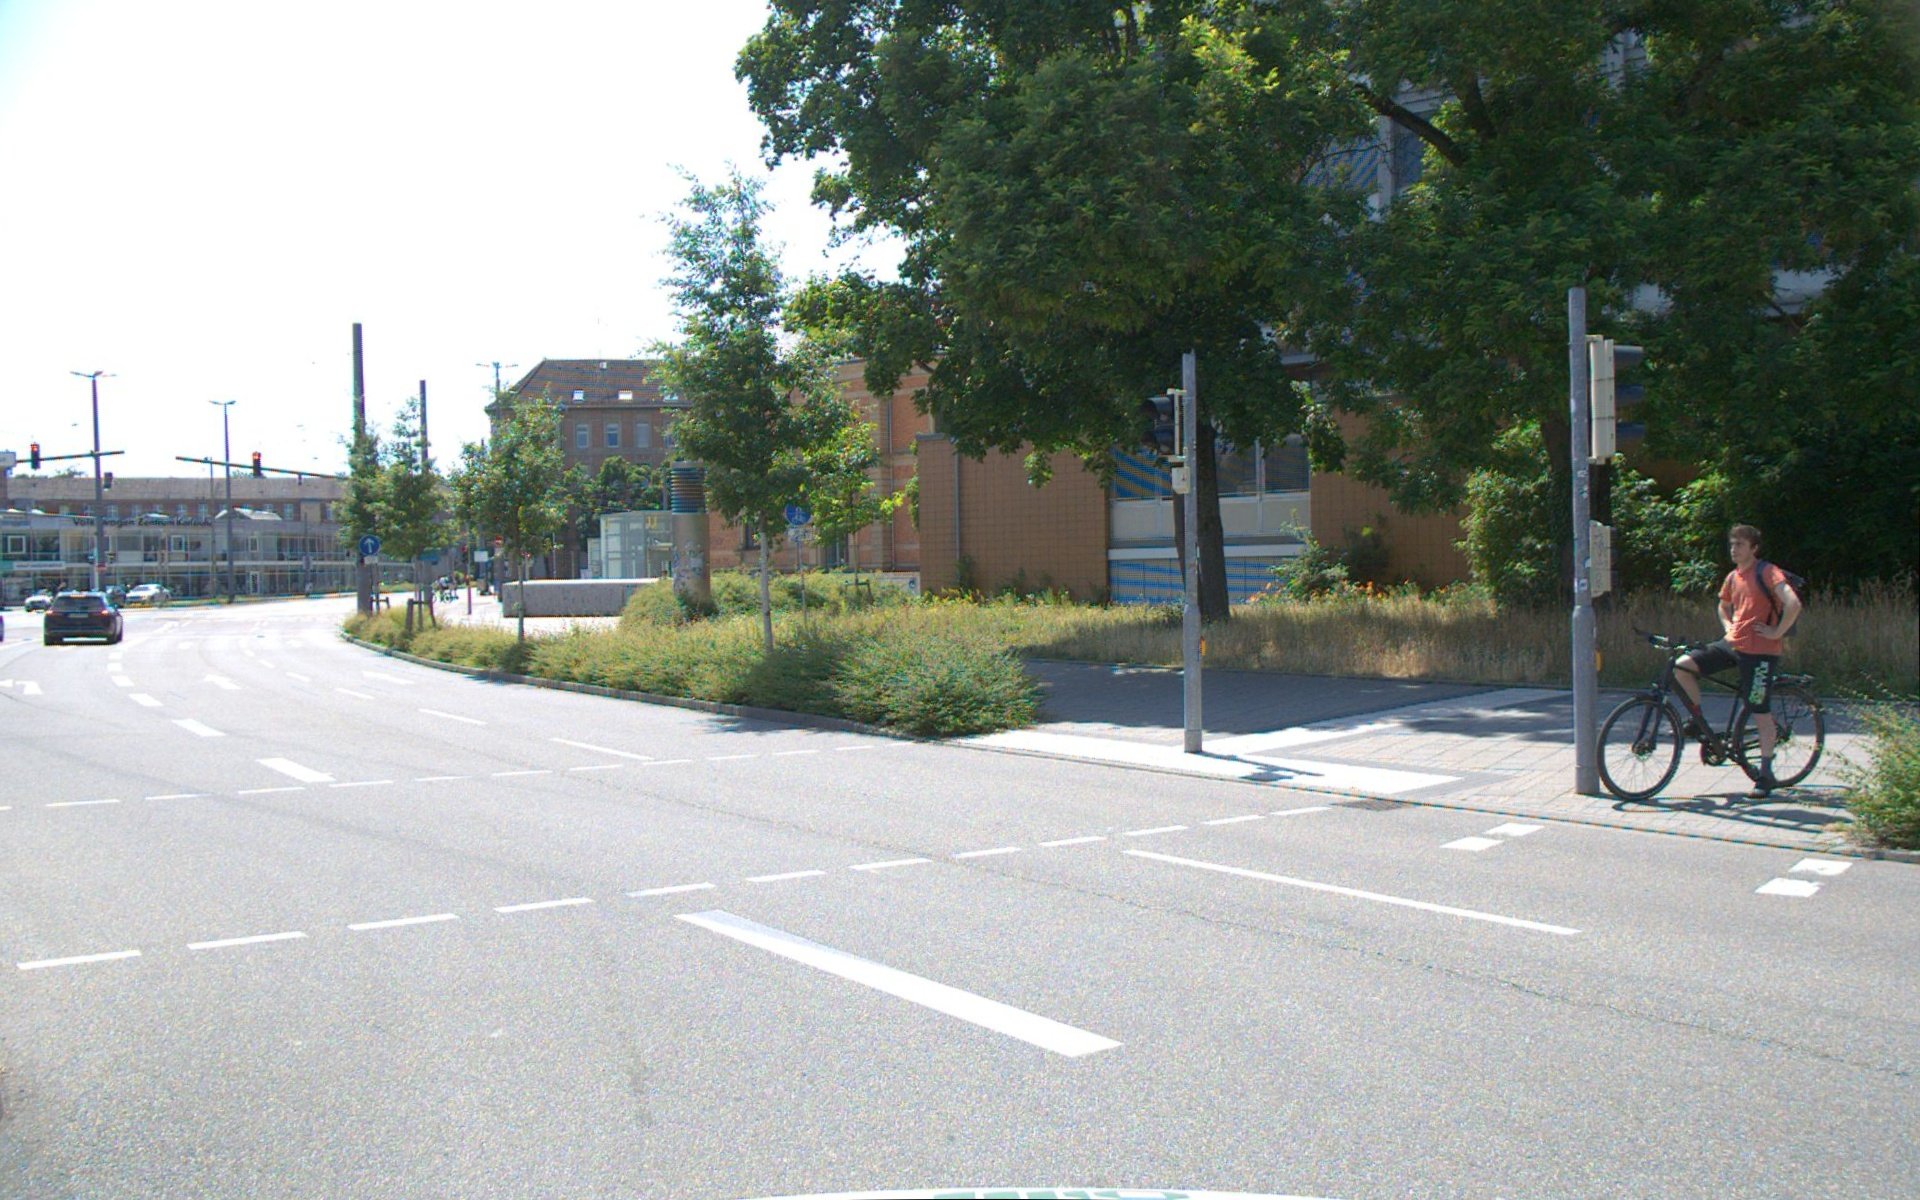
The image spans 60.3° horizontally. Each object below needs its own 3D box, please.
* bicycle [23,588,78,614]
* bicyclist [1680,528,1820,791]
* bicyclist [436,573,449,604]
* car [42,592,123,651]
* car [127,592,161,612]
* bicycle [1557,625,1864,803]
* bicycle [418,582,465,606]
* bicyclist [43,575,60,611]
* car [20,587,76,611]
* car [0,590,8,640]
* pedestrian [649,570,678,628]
[{"bbox_3d":[-52.075,0.069,94.733,2.746,1.409,0.664,-1,3,-31],"label":"bicycle"},{"bbox_3d":[5.443,0.389,11.410,0.688,1.745,0.550,-2,3,-11],"label":"bicyclist"},{"bbox_3d":[-33.290,-0.771,106.383,0.753,1.971,0.655,-1,2,-25],"label":"bicyclist"},{"bbox_3d":[-25.729,0.585,48.602,1.694,1.584,4.553,-1,1,-23],"label":"car"},{"bbox_3d":[-59.487,0.106,120.594,1.406,1.307,3.253,0,3,-11],"label":"car"},{"bbox_3d":[5.157,0.759,11.377,1.955,1.063,0.557,-2,2,-11],"label":"bicycle"},{"bbox_3d":[-33.360,-0.409,106.394,2.790,1.488,0.629,-1,2,-26],"label":"bicycle"},{"bbox_3d":[-52.017,-0.415,94.718,0.837,1.999,0.620,-1,3,-31],"label":"bicyclist"},{"bbox_3d":[-57.496,-0.095,104.306,1.588,1.414,4.119,-1,1,-6],"label":"car"},{"bbox_3d":[-29.030,0.472,48.328,1.599,1.489,3.971,-1,1,-23],"label":"car"},{"bbox_3d":[-9.008,-0.042,50.271,0.722,1.735,0.805,-1,1,-22],"label":"pedestrian"}]
